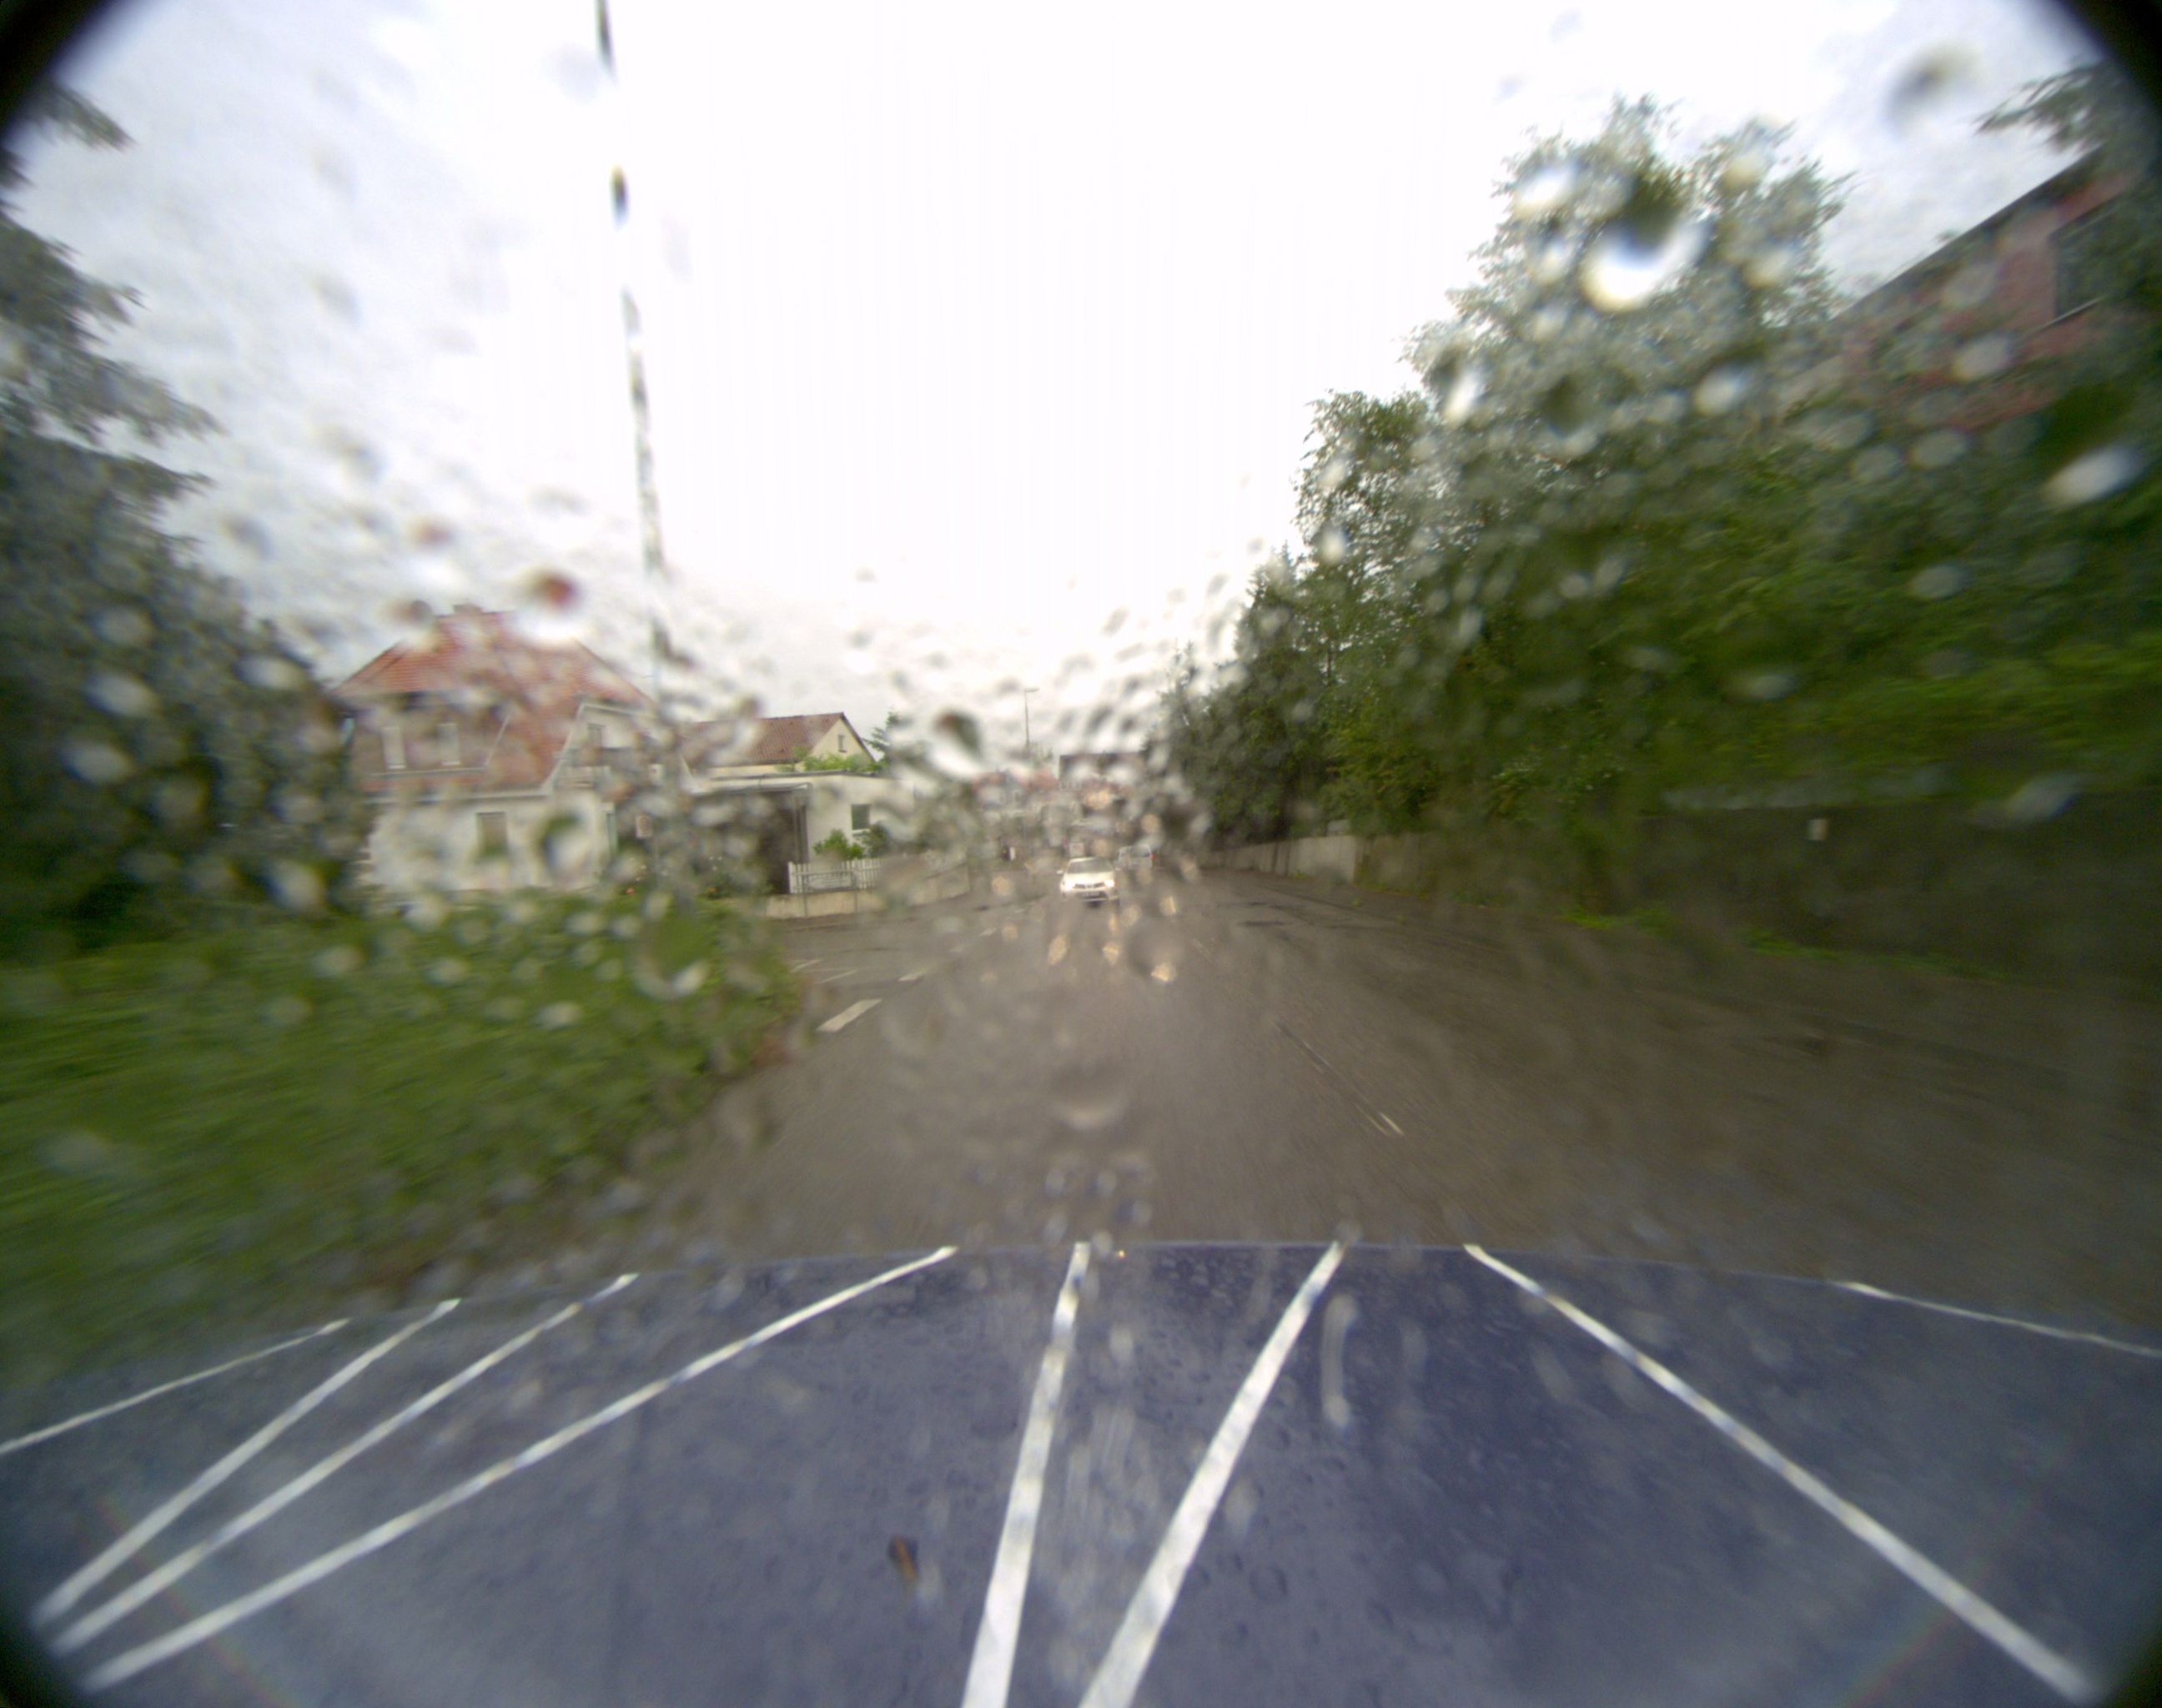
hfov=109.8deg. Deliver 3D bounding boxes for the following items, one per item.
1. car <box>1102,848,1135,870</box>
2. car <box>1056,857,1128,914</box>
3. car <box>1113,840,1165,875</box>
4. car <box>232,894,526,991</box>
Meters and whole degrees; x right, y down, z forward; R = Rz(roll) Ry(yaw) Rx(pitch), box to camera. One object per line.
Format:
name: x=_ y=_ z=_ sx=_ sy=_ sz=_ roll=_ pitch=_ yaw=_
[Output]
car: x=2.883 y=0.379 z=58.962 sx=1.761 sy=1.491 sz=3.990 roll=-4 pitch=1 yaw=-7
car: x=0.376 y=0.861 z=22.619 sx=1.863 sy=1.370 sz=4.181 roll=-3 pitch=1 yaw=2
car: x=3.387 y=0.189 z=45.033 sx=2.114 sy=1.863 sz=4.177 roll=-4 pitch=1 yaw=-8
car: x=-14.069 y=1.741 z=15.410 sx=4.177 sy=1.492 sz=1.864 roll=-3 pitch=1 yaw=2
